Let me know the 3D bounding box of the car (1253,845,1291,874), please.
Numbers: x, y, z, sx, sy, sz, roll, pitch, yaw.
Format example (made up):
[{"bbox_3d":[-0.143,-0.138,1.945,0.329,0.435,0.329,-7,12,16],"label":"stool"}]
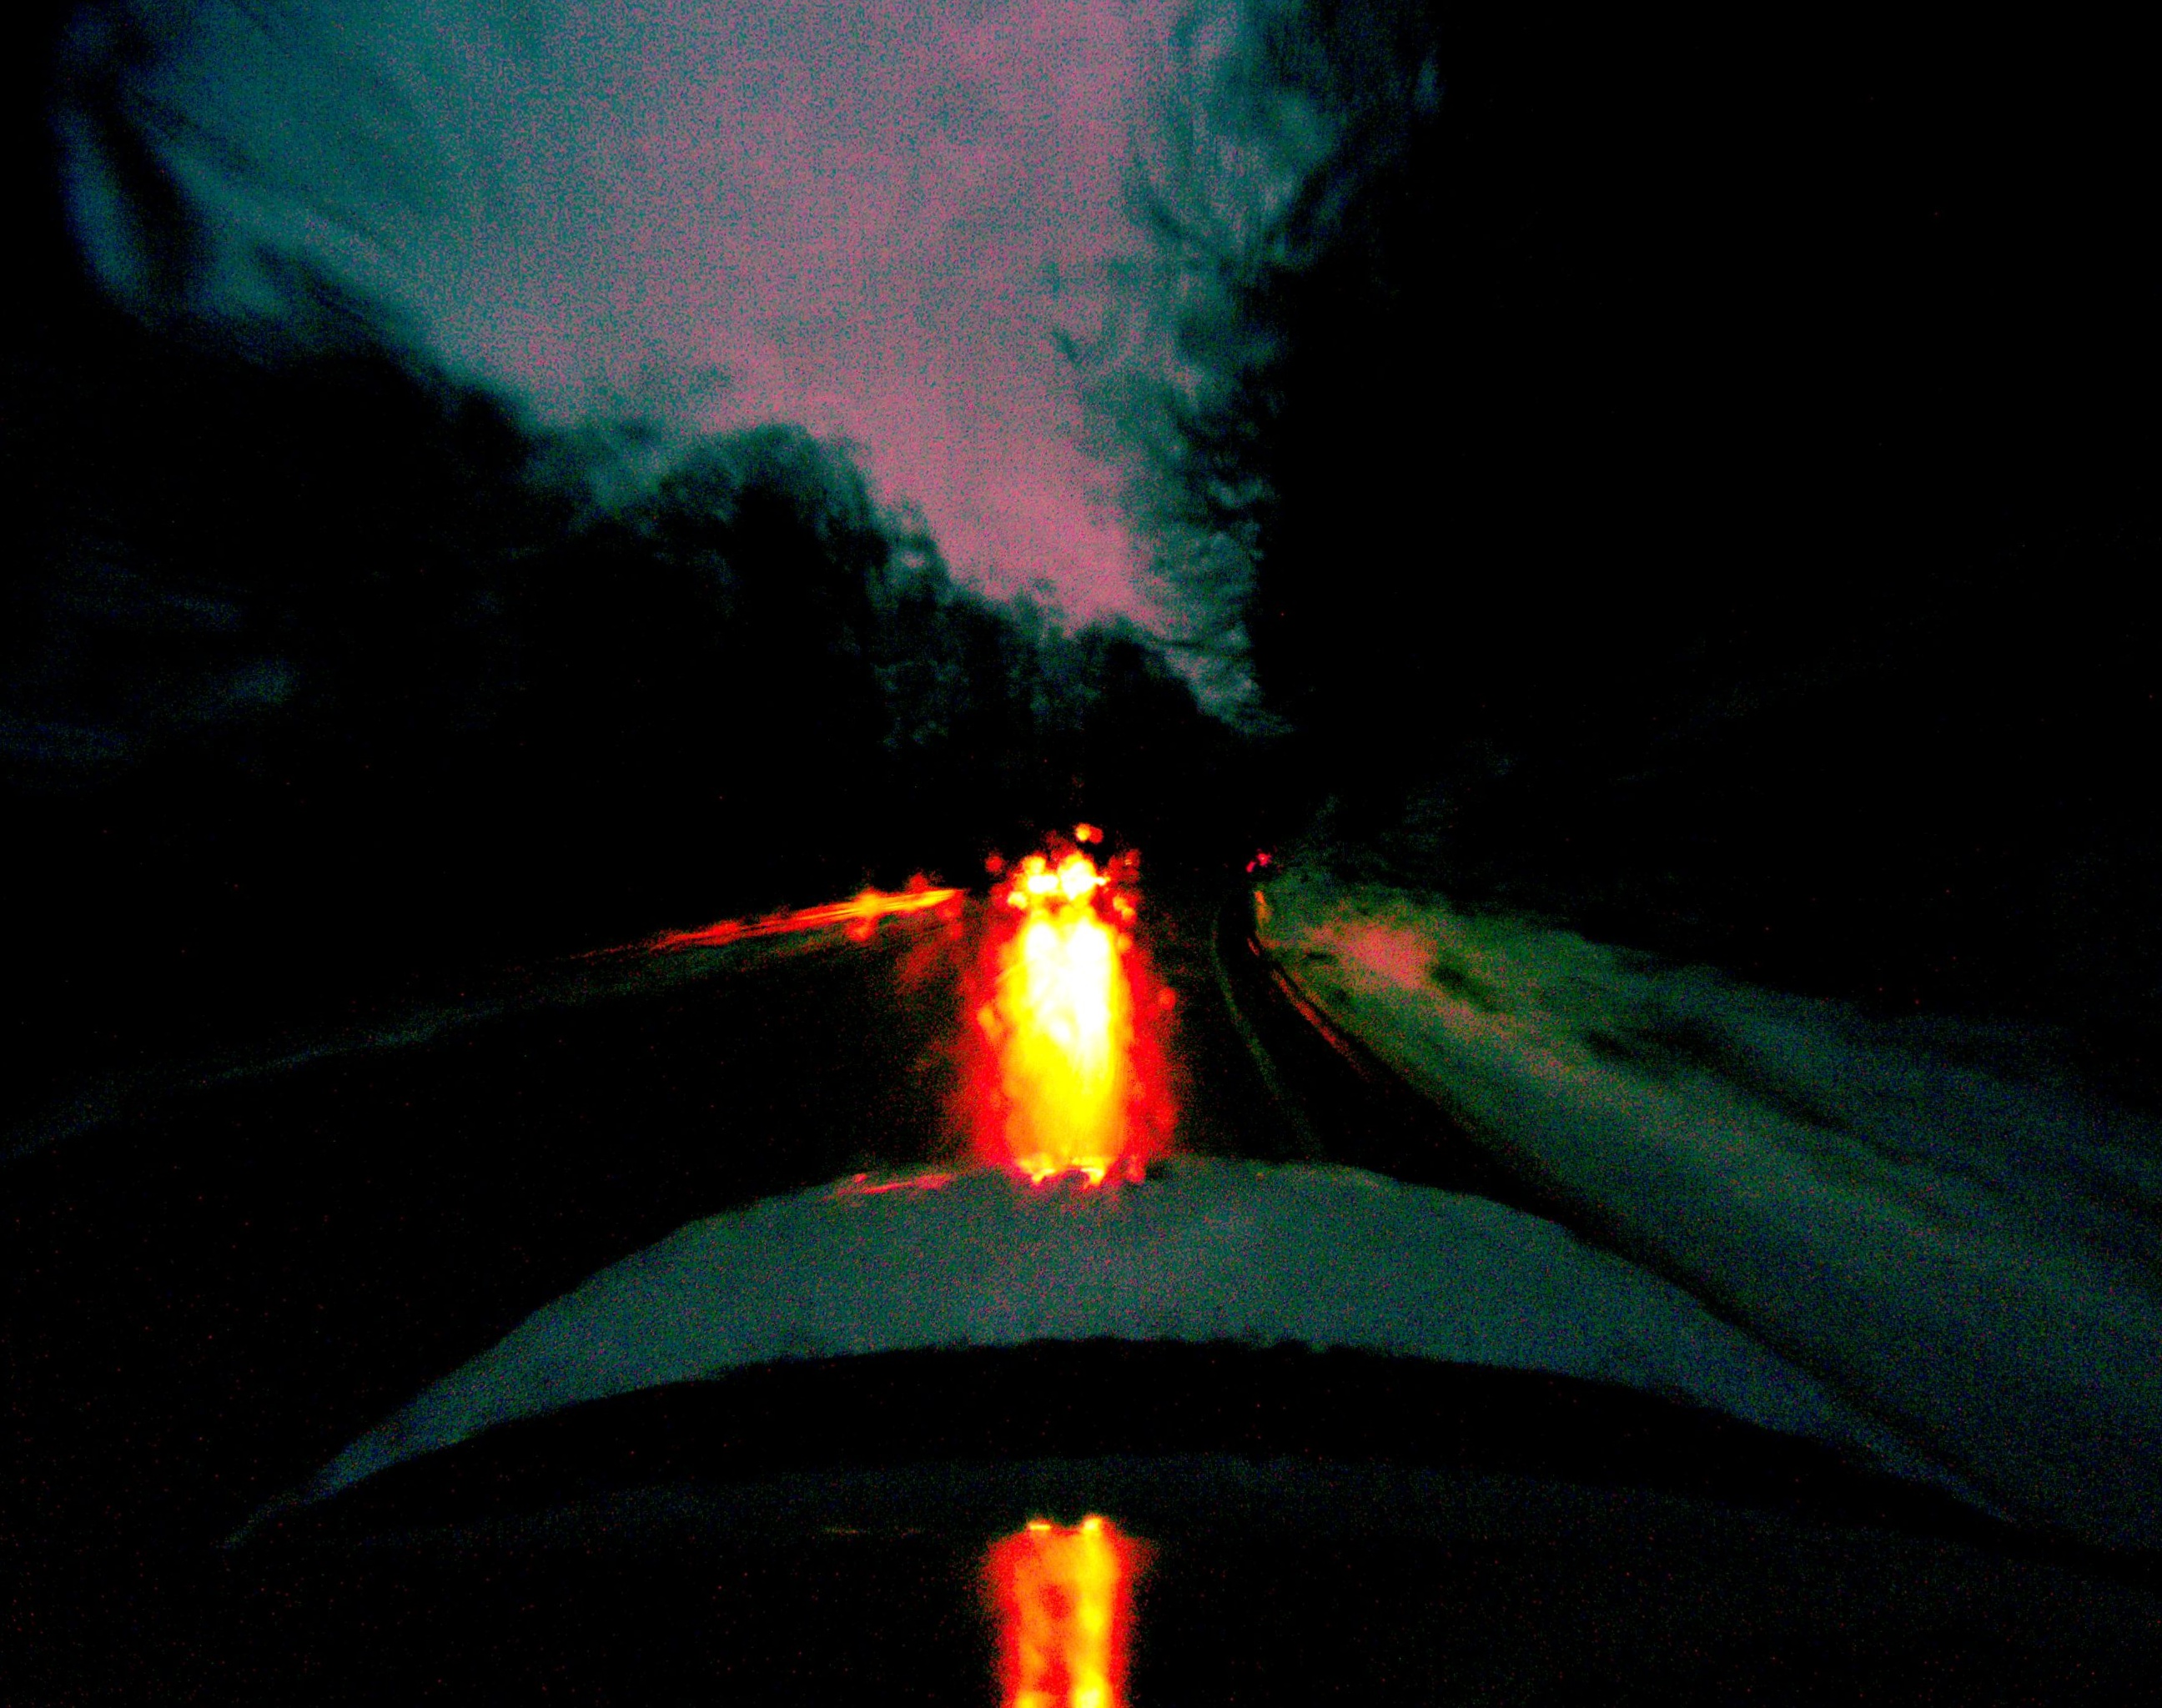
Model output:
[{"bbox_3d":[12.939,0.360,55.107,1.977,1.872,4.020,-2,-1,20],"label":"car"}]

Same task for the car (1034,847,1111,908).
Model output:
[{"bbox_3d":[-0.164,0.648,23.871,1.712,1.630,4.008,0,0,7],"label":"car"}]
